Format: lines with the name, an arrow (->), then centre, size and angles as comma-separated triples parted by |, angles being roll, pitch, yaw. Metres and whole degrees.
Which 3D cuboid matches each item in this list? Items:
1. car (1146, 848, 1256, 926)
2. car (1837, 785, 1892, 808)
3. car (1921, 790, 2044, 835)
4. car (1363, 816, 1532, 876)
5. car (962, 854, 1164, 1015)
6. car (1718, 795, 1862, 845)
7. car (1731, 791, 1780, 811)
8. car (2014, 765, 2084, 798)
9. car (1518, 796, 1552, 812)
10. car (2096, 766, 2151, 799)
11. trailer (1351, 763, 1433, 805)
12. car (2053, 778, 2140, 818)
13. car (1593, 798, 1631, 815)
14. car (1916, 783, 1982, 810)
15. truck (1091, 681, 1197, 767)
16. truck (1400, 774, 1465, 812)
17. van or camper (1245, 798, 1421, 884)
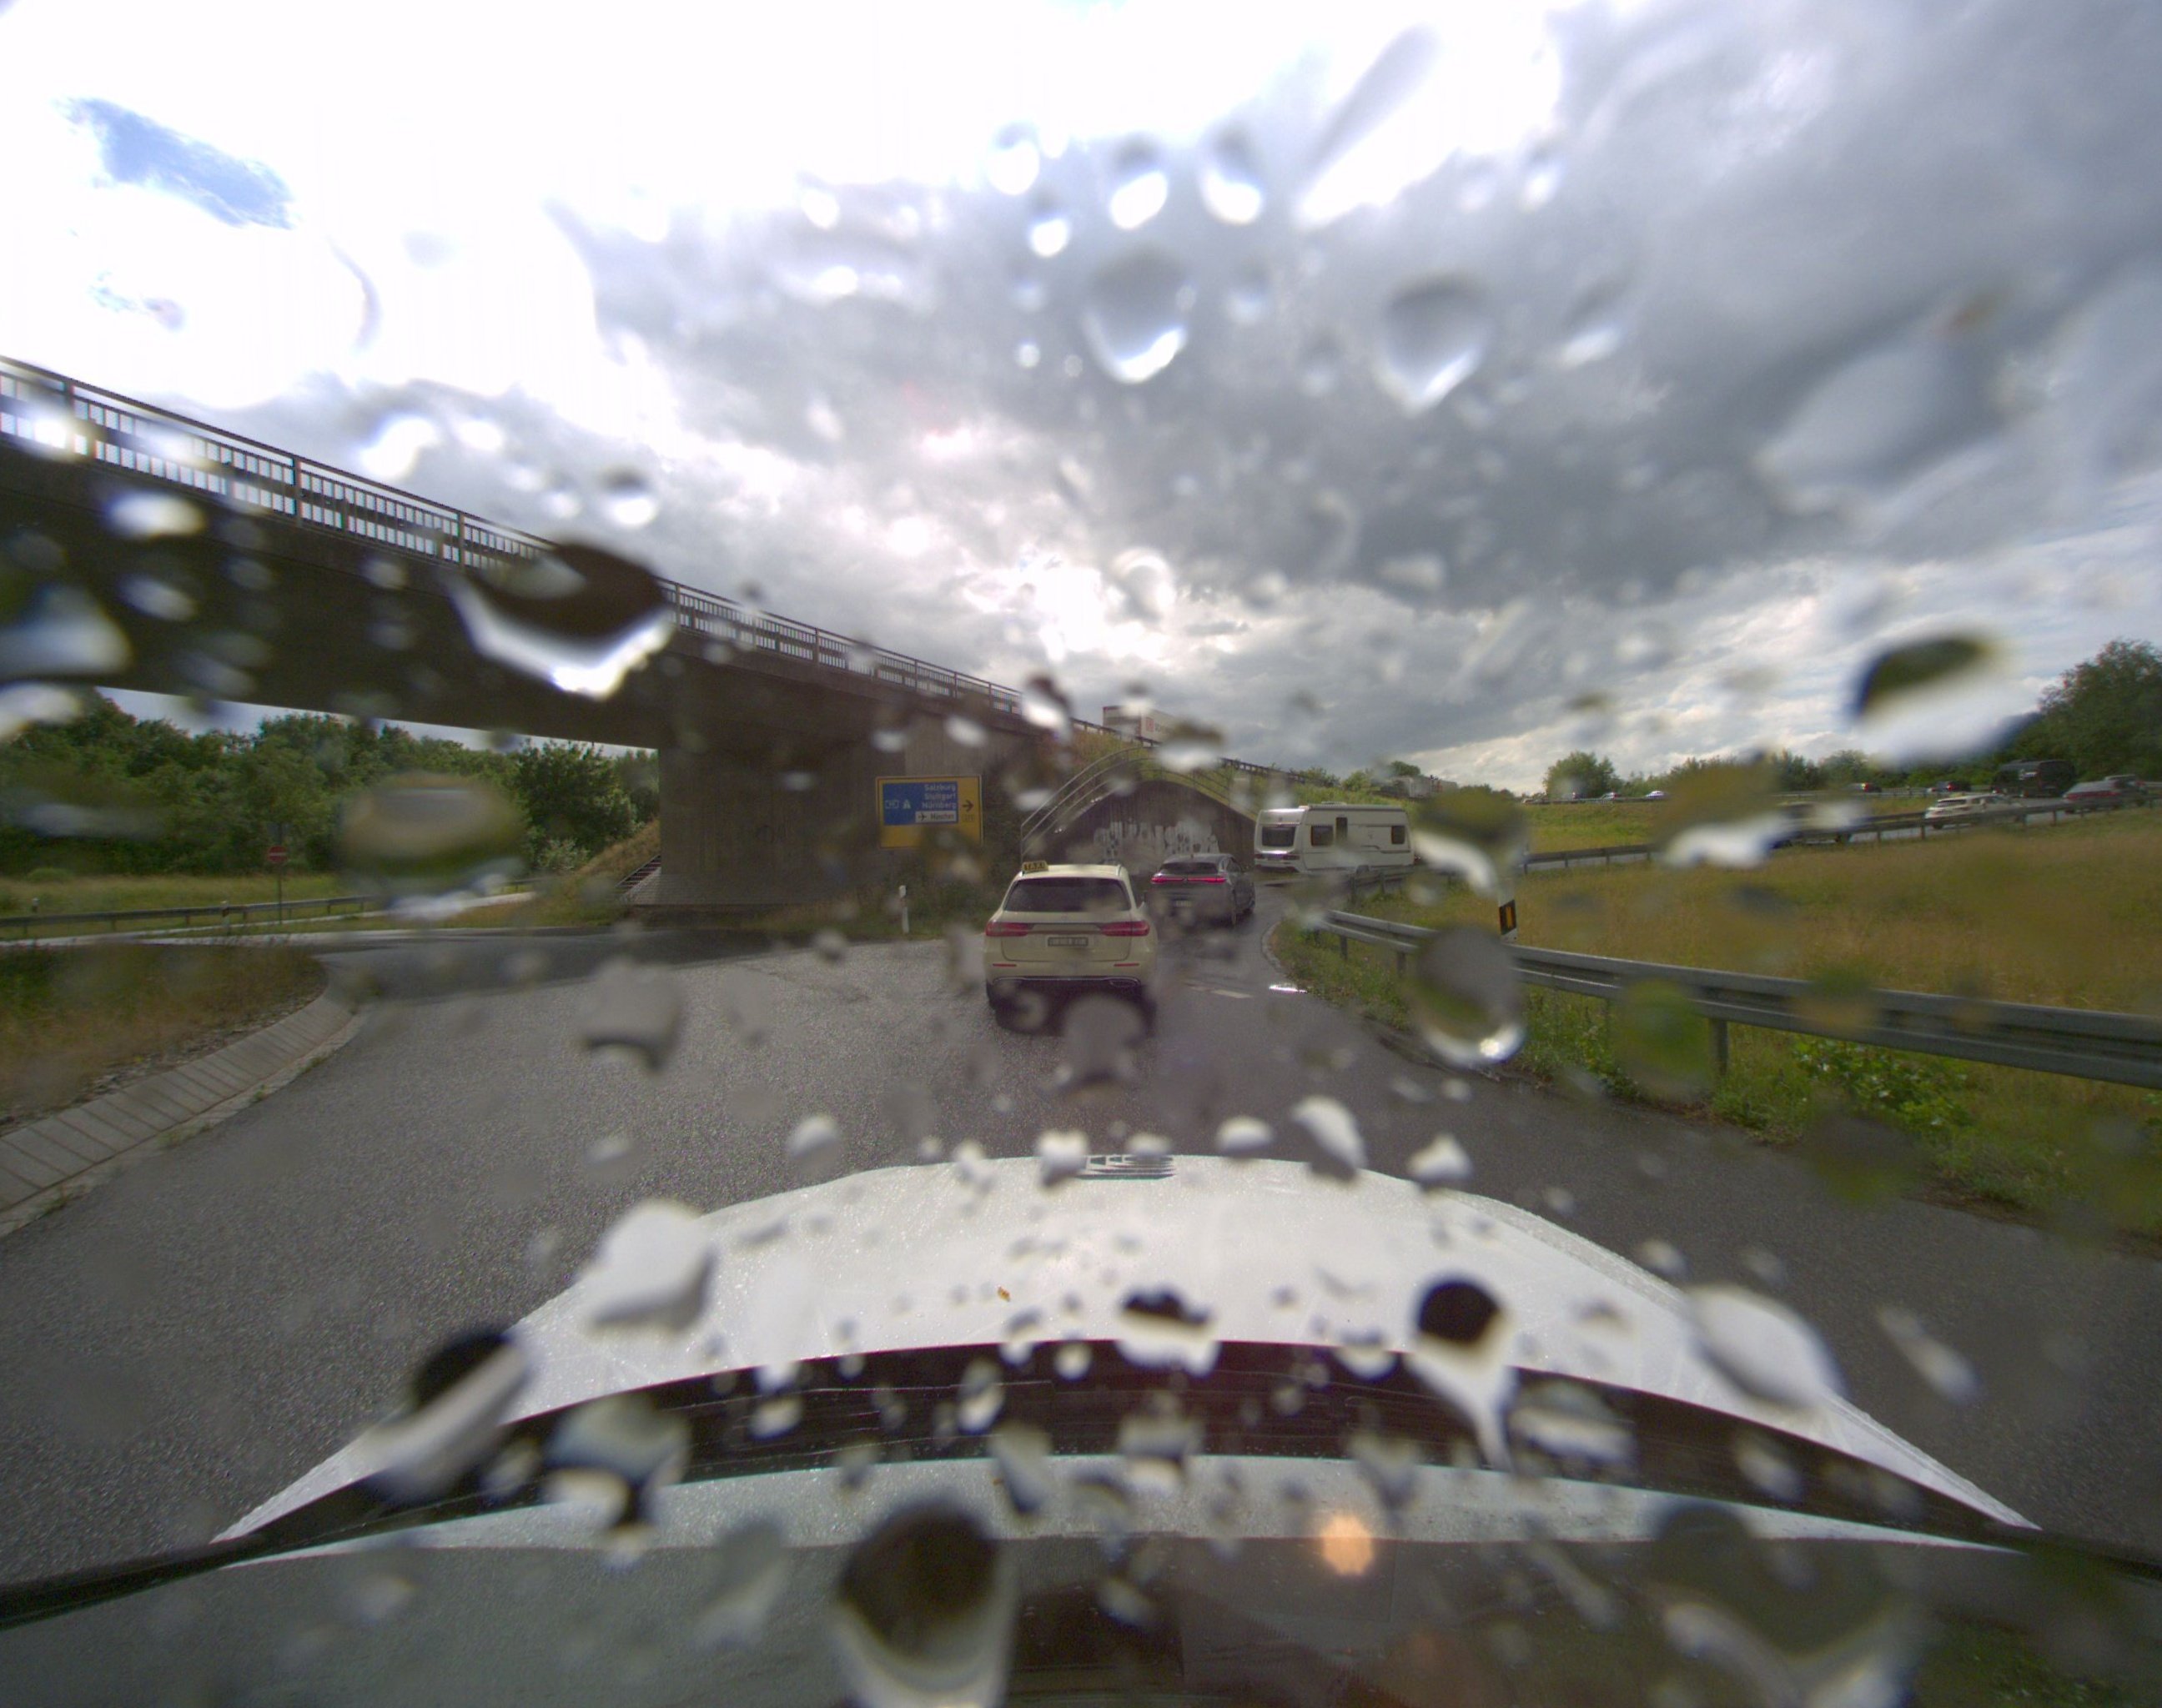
car -> 2.795, 0.675, 18.158 | 1.704, 1.525, 4.019 | -1, -1, 18
car -> 77.530, -5.664, 80.647 | 1.981, 2.013, 4.012 | -2, 1, 10
car -> 42.387, -1.952, 38.308 | 5.055, 1.861, 1.988 | -3, 0, -19
car -> 13.775, -0.355, 30.637 | 5.762, 1.925, 2.420 | -3, 2, -21
car -> -0.001, 0.789, 10.077 | 1.907, 1.507, 4.601 | -1, -1, 4
car -> 29.454, -1.402, 33.876 | 5.049, 1.861, 1.990 | -3, 0, -15
car -> 76.015, -5.948, 91.832 | 1.993, 2.013, 3.987 | 0, 0, -10
car -> 70.557, -5.234, 59.450 | 1.974, 2.013, 4.025 | -1, 0, 29
car -> 68.013, -7.492, 122.090 | 2.010, 2.013, 3.954 | -2, 0, -39
car -> 64.176, -4.359, 50.207 | 5.086, 1.784, 1.645 | -3, 0, -43
trailer -> 41.376, -9.054, 107.486 | 4.370, 3.955, 20.347 | -1, 0, 37
car -> 51.939, -2.867, 41.638 | 5.072, 1.861, 1.981 | -3, 0, -30
car -> 72.915, -6.555, 111.913 | 2.001, 2.013, 3.972 | -2, 0, -21
car -> 74.812, -4.892, 70.278 | 1.980, 2.013, 4.014 | -2, 0, 13
truck -> 4.243, -8.026, 51.797 | 3.150, 3.966, 9.293 | -1, 0, 29
truck -> 53.303, -8.993, 123.021 | 4.417, 4.503, 19.500 | -1, 0, 37
van or camper -> 8.775, -0.534, 28.187 | 6.021, 2.729, 2.415 | -2, 2, -31
